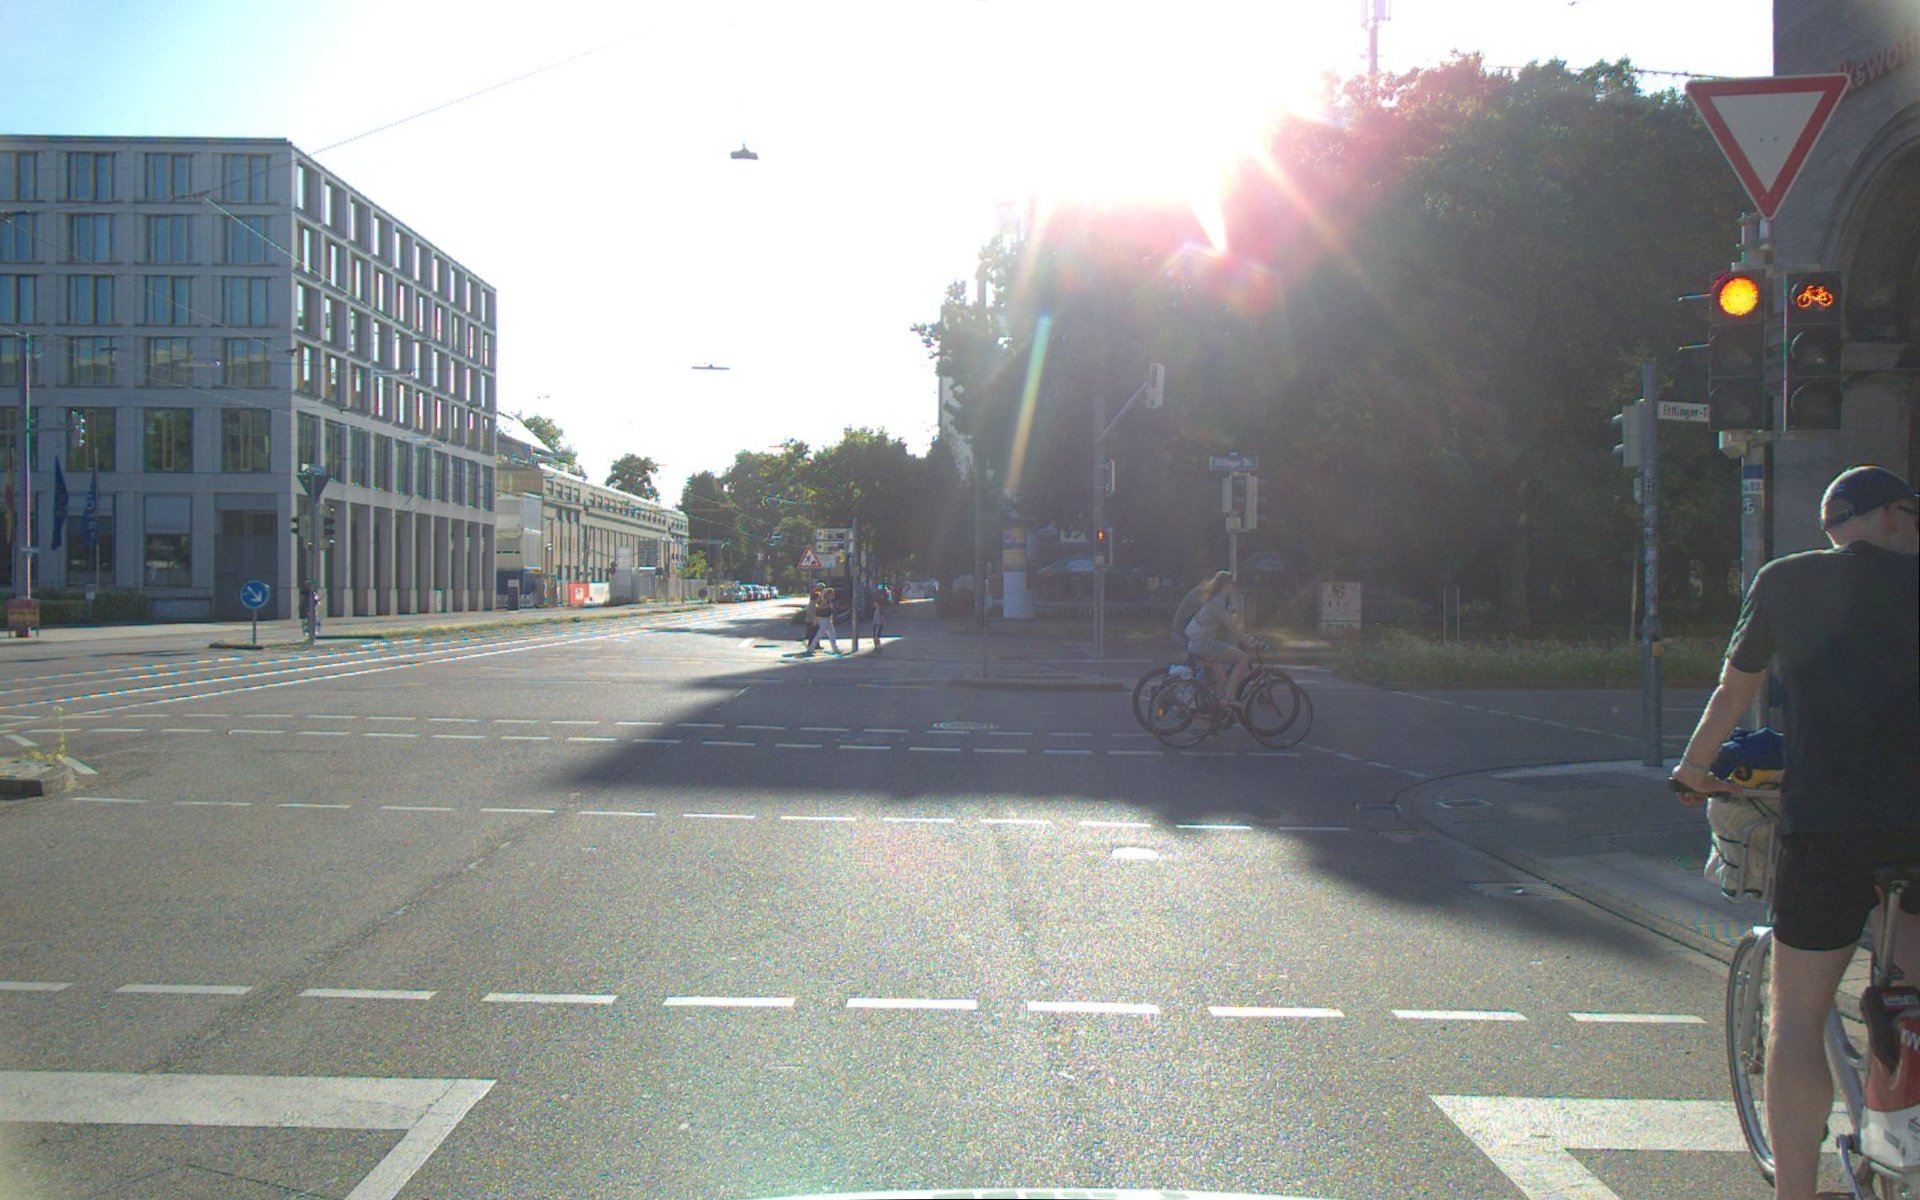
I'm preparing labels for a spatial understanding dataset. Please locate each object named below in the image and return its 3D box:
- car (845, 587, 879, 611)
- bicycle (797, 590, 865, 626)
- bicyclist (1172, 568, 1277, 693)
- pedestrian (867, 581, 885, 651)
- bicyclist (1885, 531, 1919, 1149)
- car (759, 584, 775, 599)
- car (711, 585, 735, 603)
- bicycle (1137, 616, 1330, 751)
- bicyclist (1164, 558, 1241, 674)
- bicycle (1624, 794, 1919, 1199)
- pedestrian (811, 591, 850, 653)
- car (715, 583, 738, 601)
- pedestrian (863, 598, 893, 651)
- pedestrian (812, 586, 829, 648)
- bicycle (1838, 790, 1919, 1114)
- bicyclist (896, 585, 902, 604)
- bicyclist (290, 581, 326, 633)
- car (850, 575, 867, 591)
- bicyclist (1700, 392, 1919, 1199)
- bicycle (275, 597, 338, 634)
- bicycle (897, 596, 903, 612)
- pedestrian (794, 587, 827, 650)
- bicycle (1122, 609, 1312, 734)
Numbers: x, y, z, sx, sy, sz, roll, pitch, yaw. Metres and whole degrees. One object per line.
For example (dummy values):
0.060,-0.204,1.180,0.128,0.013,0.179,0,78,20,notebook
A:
-5.362,-0.055,90.830,1.783,1.301,3.998,0,0,-3,car
-5.226,0.331,67.046,2.688,1.391,0.631,1,-1,10,bicycle
2.692,0.297,16.891,0.906,1.240,0.796,0,0,-4,bicyclist
-2.201,0.419,43.561,0.353,1.836,0.507,0,0,11,pedestrian
2.896,0.665,4.303,0.511,1.709,0.859,0,0,2,bicyclist
-22.640,-0.977,194.046,1.453,1.780,3.999,0,0,-1,car
-22.313,-0.589,155.690,1.695,1.682,3.999,0,0,-1,car
2.770,0.832,16.887,1.814,1.314,0.791,0,0,-4,bicycle
2.651,0.166,18.130,0.706,1.240,0.797,0,0,-2,bicyclist
2.056,1.048,3.975,0.381,0.921,1.952,0,0,8,bicycle
-3.387,0.565,43.384,0.964,1.615,0.660,0,-1,1,pedestrian
-22.510,-0.762,159.835,1.695,1.682,3.999,0,0,-1,car
-2.168,0.639,43.579,0.737,1.356,0.742,0,0,0,pedestrian
-3.798,0.457,44.919,0.432,1.692,0.376,0,0,-2,pedestrian
3.005,1.063,4.348,0.418,0.891,1.951,0,0,2,bicycle
-3.635,-0.346,98.358,0.312,1.147,0.291,0,0,-1,bicyclist
-21.267,0.219,53.966,0.857,1.670,0.822,0,0,0,bicyclist
-13.224,-2.255,216.087,1.953,2.049,3.999,0,0,-1,car
2.121,0.425,3.711,0.655,1.707,0.657,0,0,5,bicyclist
-21.269,0.494,53.918,0.857,1.140,3.013,0,0,0,bicycle
-3.583,0.234,98.378,0.317,0.883,1.483,0,0,-1,bicycle
-3.952,0.482,43.770,0.779,1.668,0.533,0,0,2,pedestrian
2.800,0.767,18.143,1.945,1.314,0.791,0,0,-3,bicycle
